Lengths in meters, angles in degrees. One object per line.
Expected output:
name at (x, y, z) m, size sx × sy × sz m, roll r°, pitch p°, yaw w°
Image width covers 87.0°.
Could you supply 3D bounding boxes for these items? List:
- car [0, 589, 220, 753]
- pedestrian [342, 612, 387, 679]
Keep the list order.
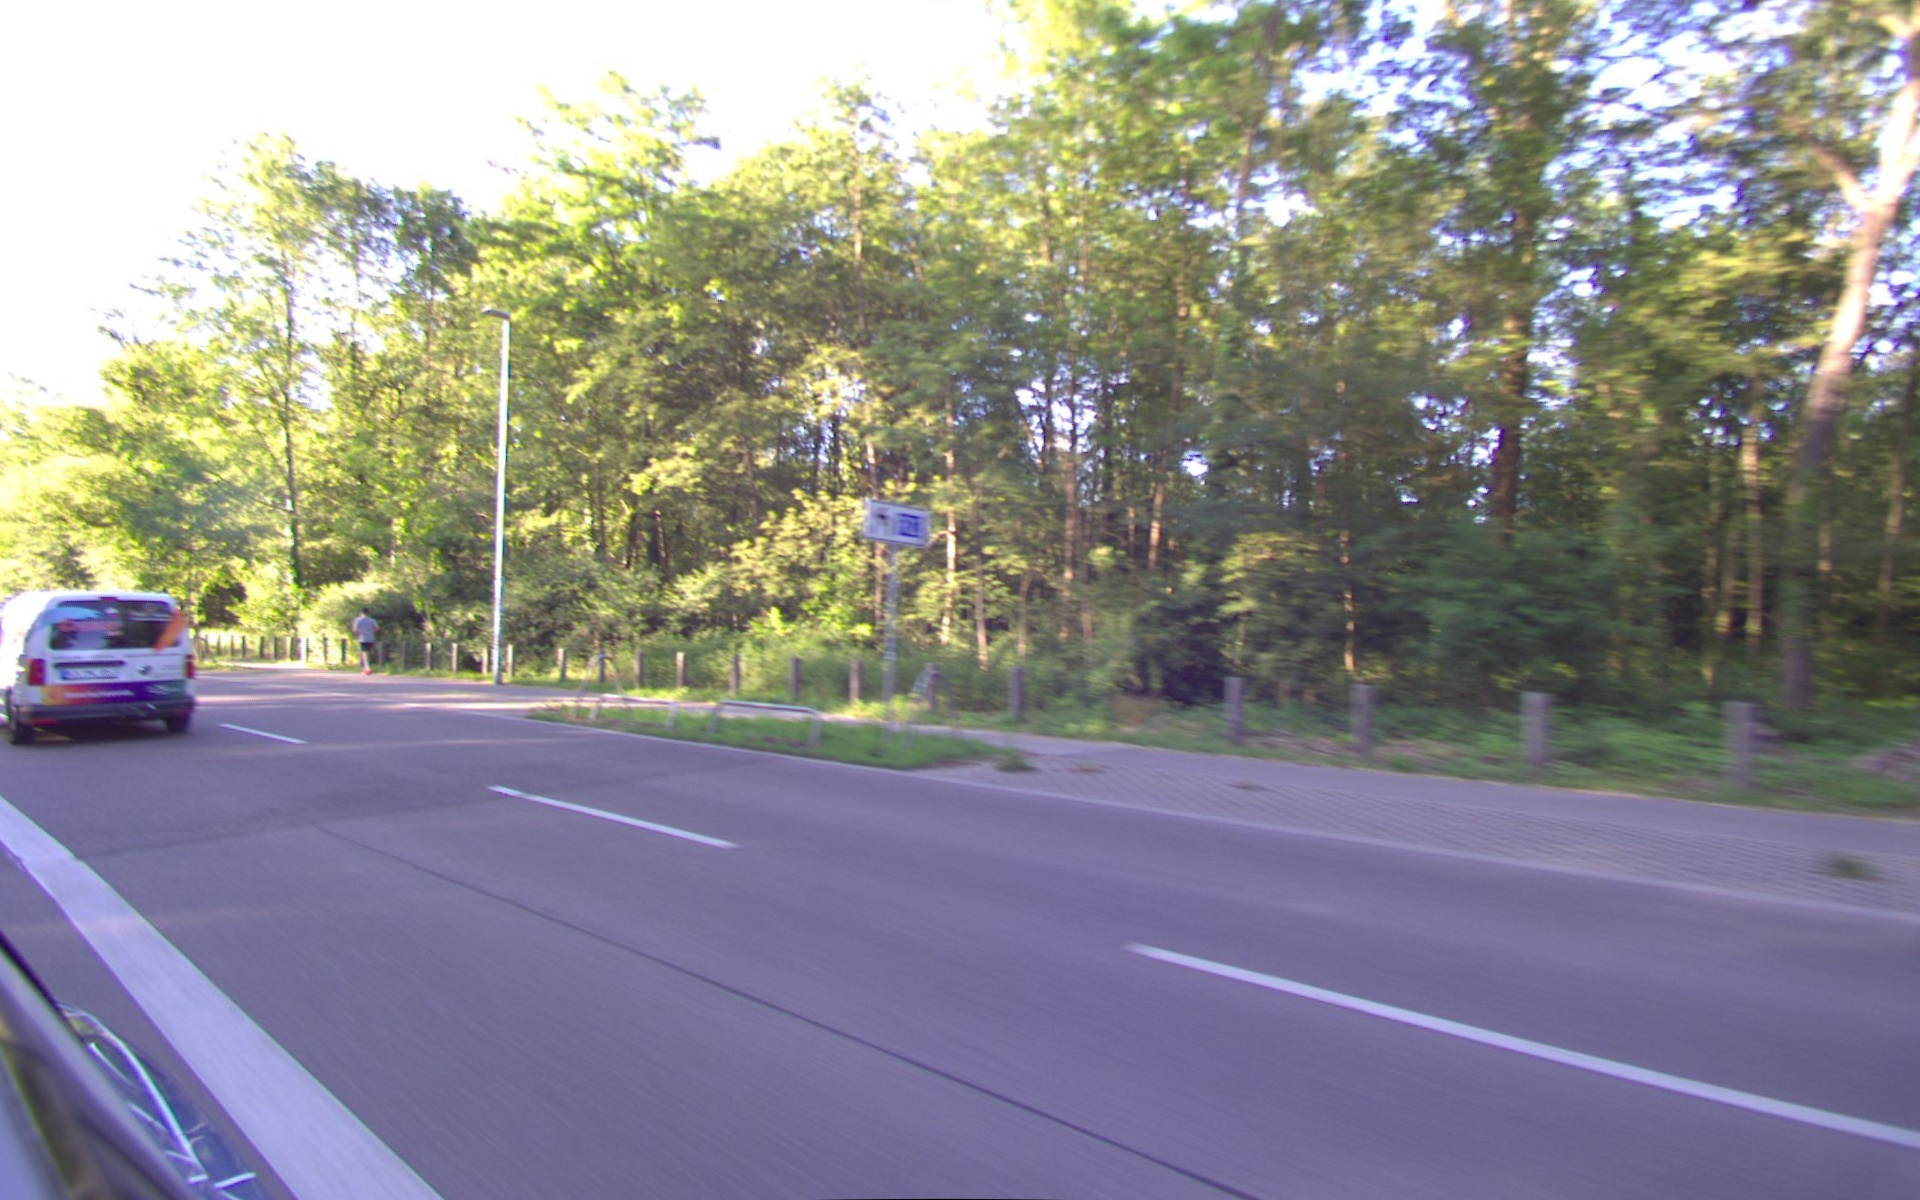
car at (-11.557, 0.825, 13.261) m, size 4.796 × 1.770 × 1.887 m, roll -1°, pitch -2°, yaw 40°
pedestrian at (-16.349, 1.248, 27.795) m, size 0.736 × 1.781 × 0.764 m, roll -1°, pitch -3°, yaw 36°
